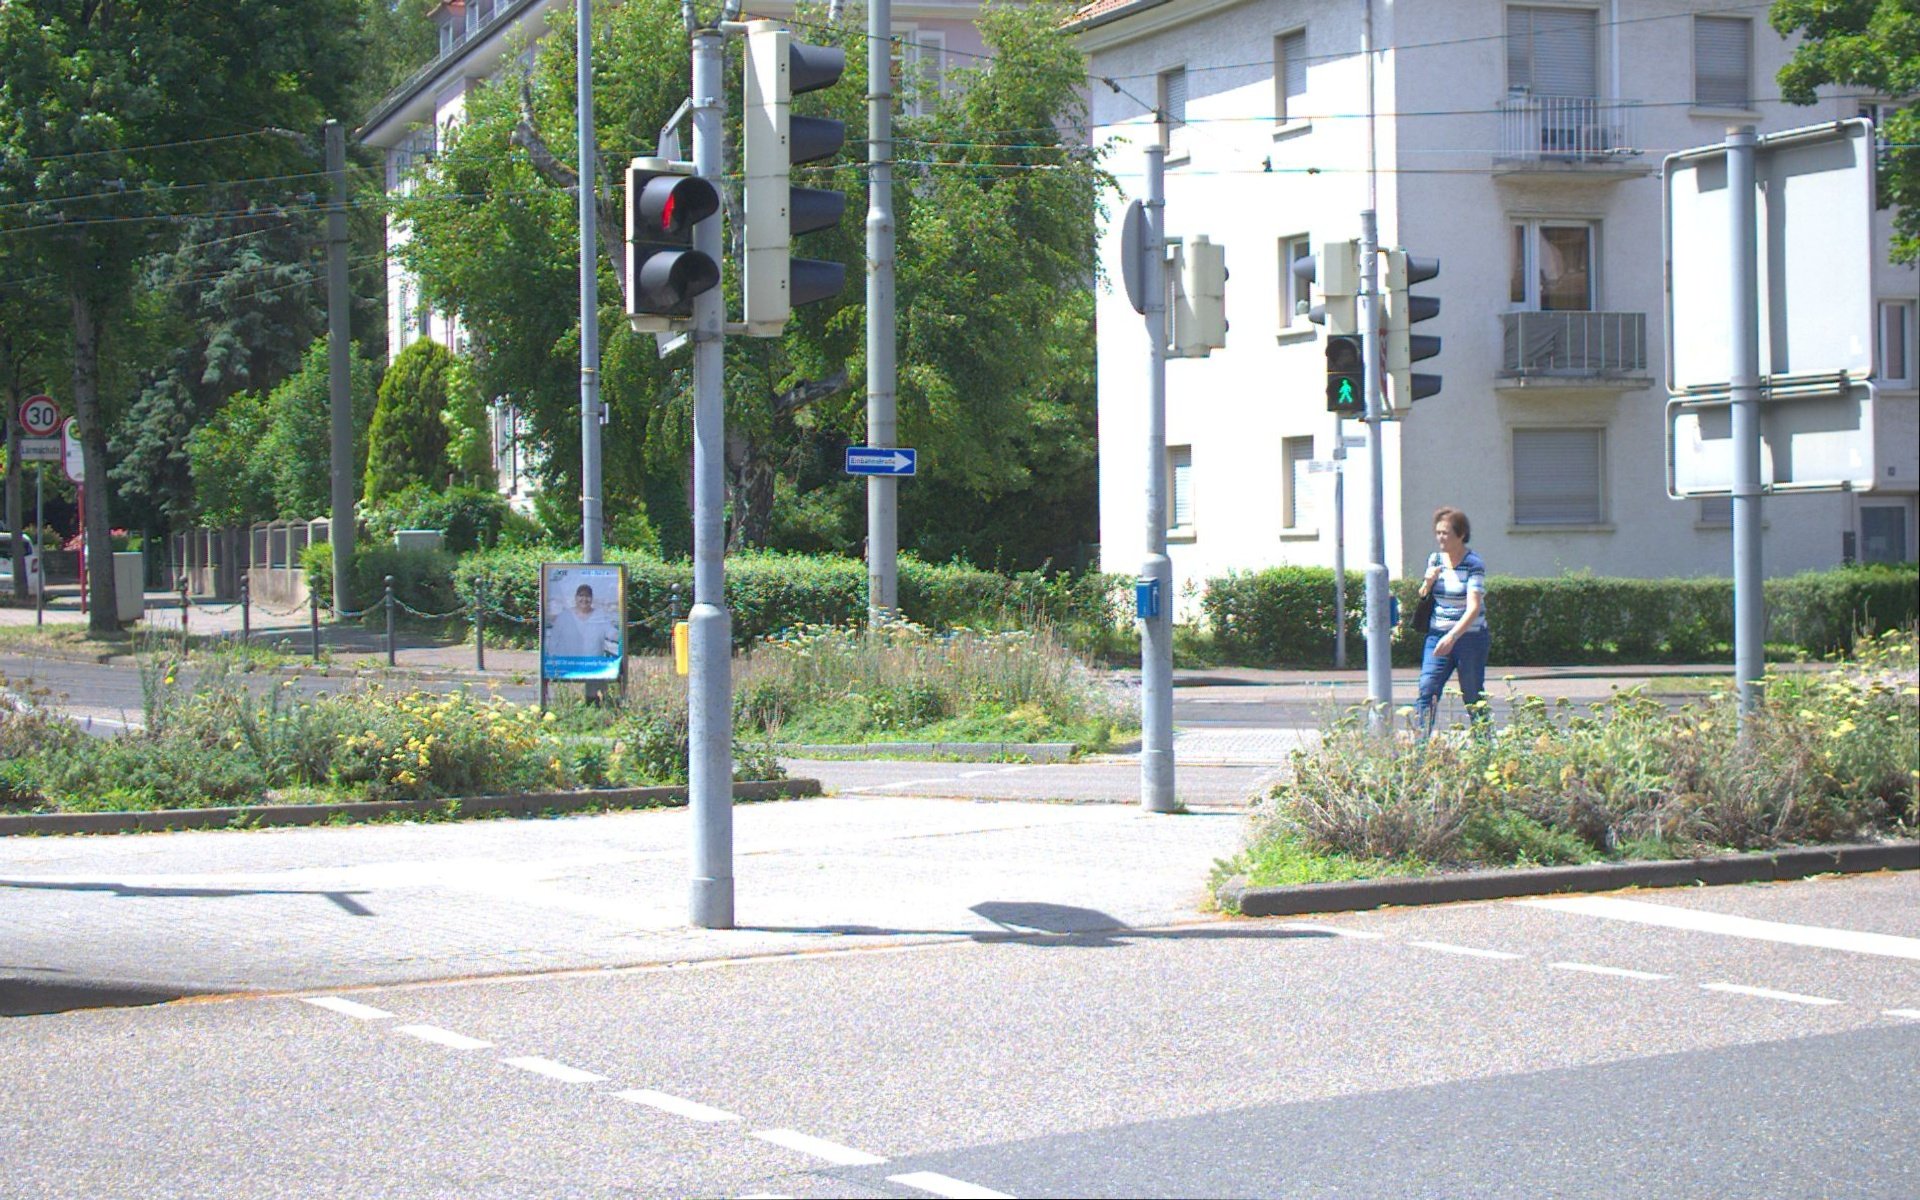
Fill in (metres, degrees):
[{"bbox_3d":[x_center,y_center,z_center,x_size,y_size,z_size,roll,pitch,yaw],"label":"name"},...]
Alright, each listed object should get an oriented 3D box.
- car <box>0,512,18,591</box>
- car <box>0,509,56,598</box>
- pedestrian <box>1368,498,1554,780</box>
[{"bbox_3d":[-24.340,-1.219,84.523,1.993,1.900,4.001,0,1,-19],"label":"car"},{"bbox_3d":[-20.047,-0.998,71.741,1.993,1.801,4.001,0,1,-19],"label":"car"},{"bbox_3d":[3.089,0.224,21.221,0.835,1.699,0.762,-1,1,-34],"label":"pedestrian"}]
